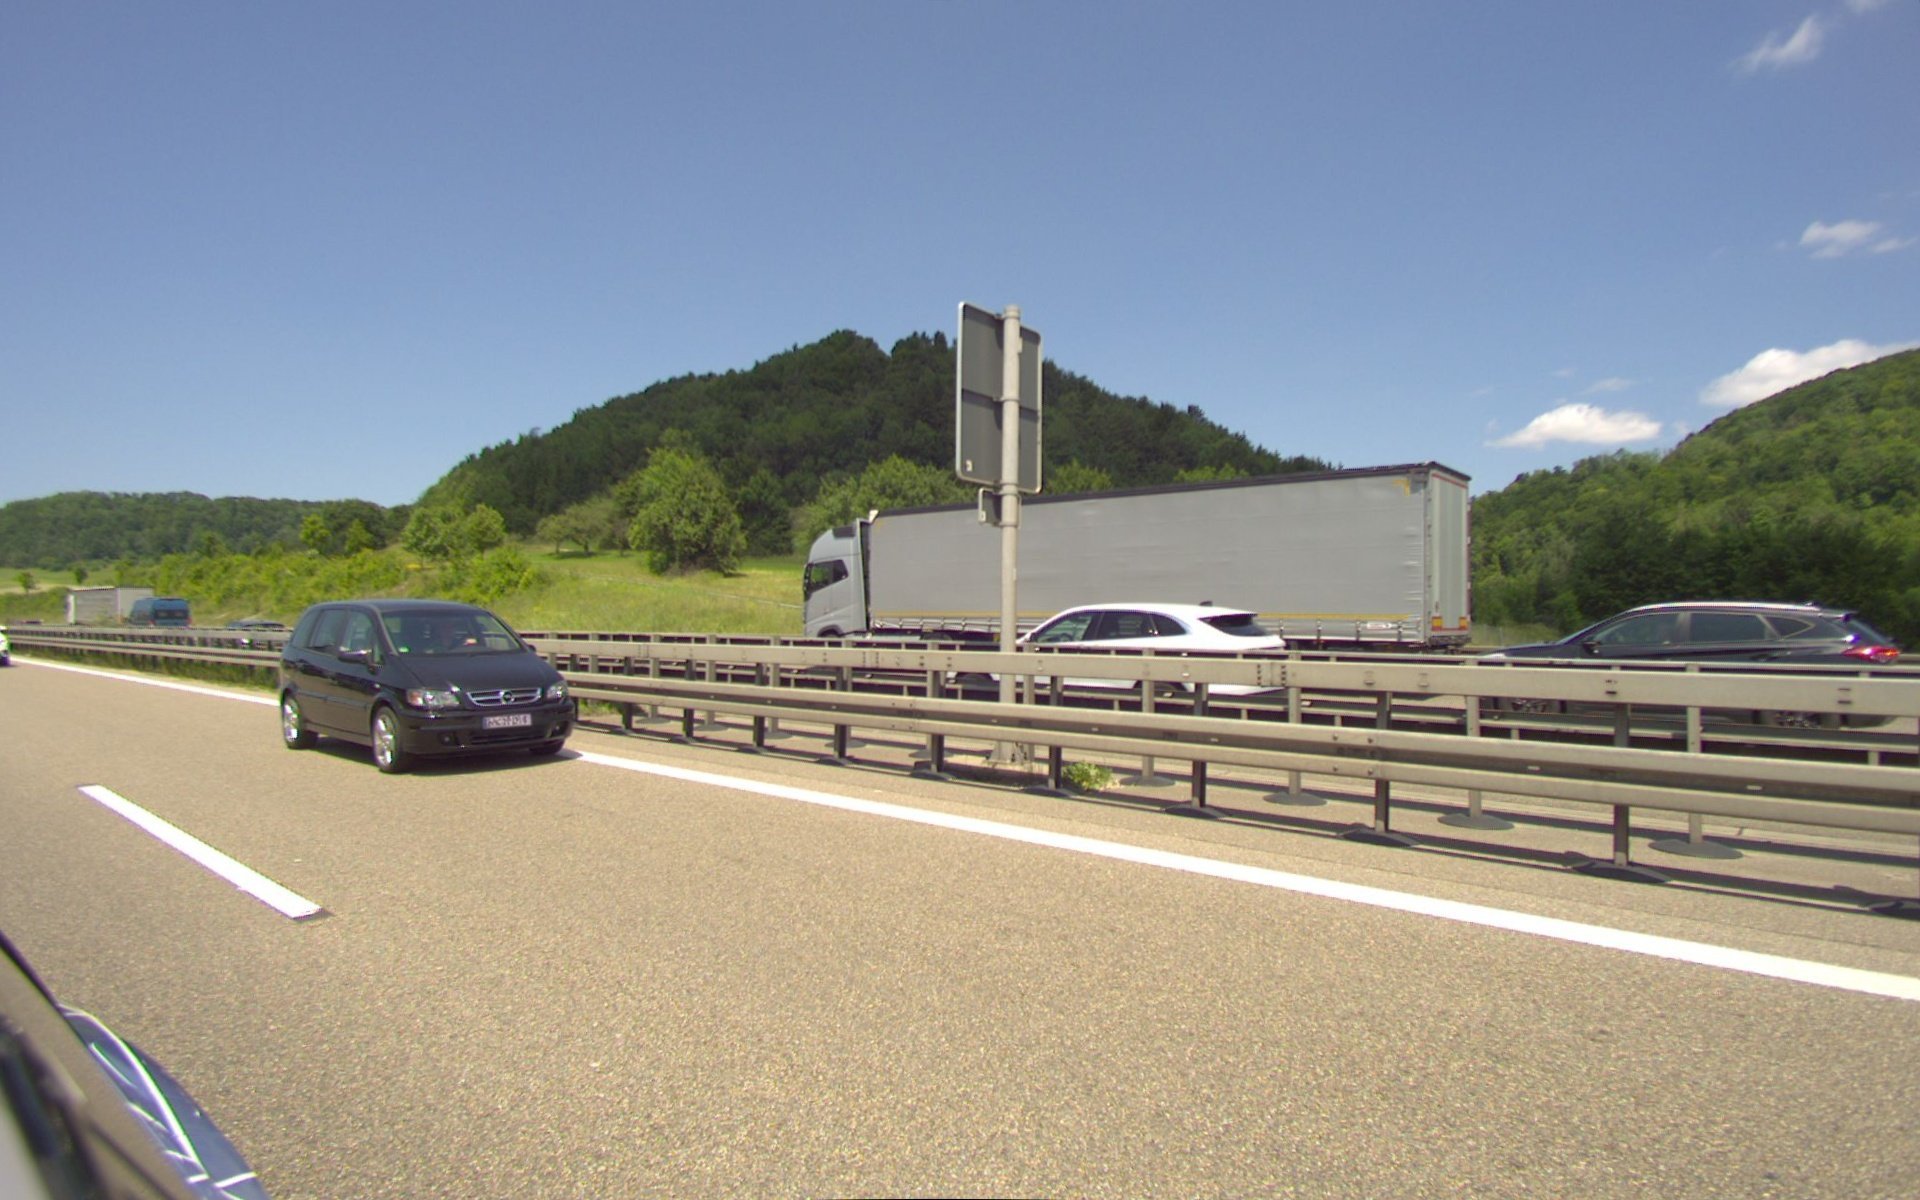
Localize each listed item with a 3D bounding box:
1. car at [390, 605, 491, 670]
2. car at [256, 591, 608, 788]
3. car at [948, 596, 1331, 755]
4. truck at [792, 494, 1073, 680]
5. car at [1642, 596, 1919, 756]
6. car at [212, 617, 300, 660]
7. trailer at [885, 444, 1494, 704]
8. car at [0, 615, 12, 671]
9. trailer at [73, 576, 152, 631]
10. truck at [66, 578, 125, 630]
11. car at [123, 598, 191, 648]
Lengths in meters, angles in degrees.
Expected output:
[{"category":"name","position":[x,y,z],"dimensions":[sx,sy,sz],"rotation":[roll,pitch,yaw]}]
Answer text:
[{"category":"car","position":[-18.247,1.270,35.450],"dimensions":[4.284,2.134,1.865],"rotation":[-1,-1,44]},{"category":"car","position":[-5.668,0.788,10.612],"dimensions":[4.443,1.647,1.782],"rotation":[-1,-1,41]},{"category":"car","position":[2.180,0.837,13.097],"dimensions":[4.507,1.706,1.973],"rotation":[-1,-1,41]},{"category":"truck","position":[-0.865,-0.272,26.275],"dimensions":[6.951,4.179,3.244],"rotation":[-1,-1,41]},{"category":"car","position":[10.230,0.779,11.109],"dimensions":[4.353,1.630,1.849],"rotation":[-1,-1,41]},{"category":"car","position":[-26.131,1.406,37.499],"dimensions":[4.022,1.496,1.749],"rotation":[-1,-1,41]},{"category":"trailer","position":[4.059,-0.398,22.025],"dimensions":[12.994,4.236,3.213],"rotation":[0,0,41]},{"category":"car","position":[-30.103,1.272,30.450],"dimensions":[3.999,1.634,1.972],"rotation":[-1,-1,42]},{"category":"trailer","position":[-70.226,0.279,83.707],"dimensions":[13.606,4.222,2.825],"rotation":[0,0,41]},{"category":"truck","position":[-74.985,0.348,87.748],"dimensions":[7.226,4.264,2.769],"rotation":[0,0,41]},{"category":"car","position":[-49.417,1.370,62.246],"dimensions":[6.396,2.884,2.133],"rotation":[0,0,41]}]
